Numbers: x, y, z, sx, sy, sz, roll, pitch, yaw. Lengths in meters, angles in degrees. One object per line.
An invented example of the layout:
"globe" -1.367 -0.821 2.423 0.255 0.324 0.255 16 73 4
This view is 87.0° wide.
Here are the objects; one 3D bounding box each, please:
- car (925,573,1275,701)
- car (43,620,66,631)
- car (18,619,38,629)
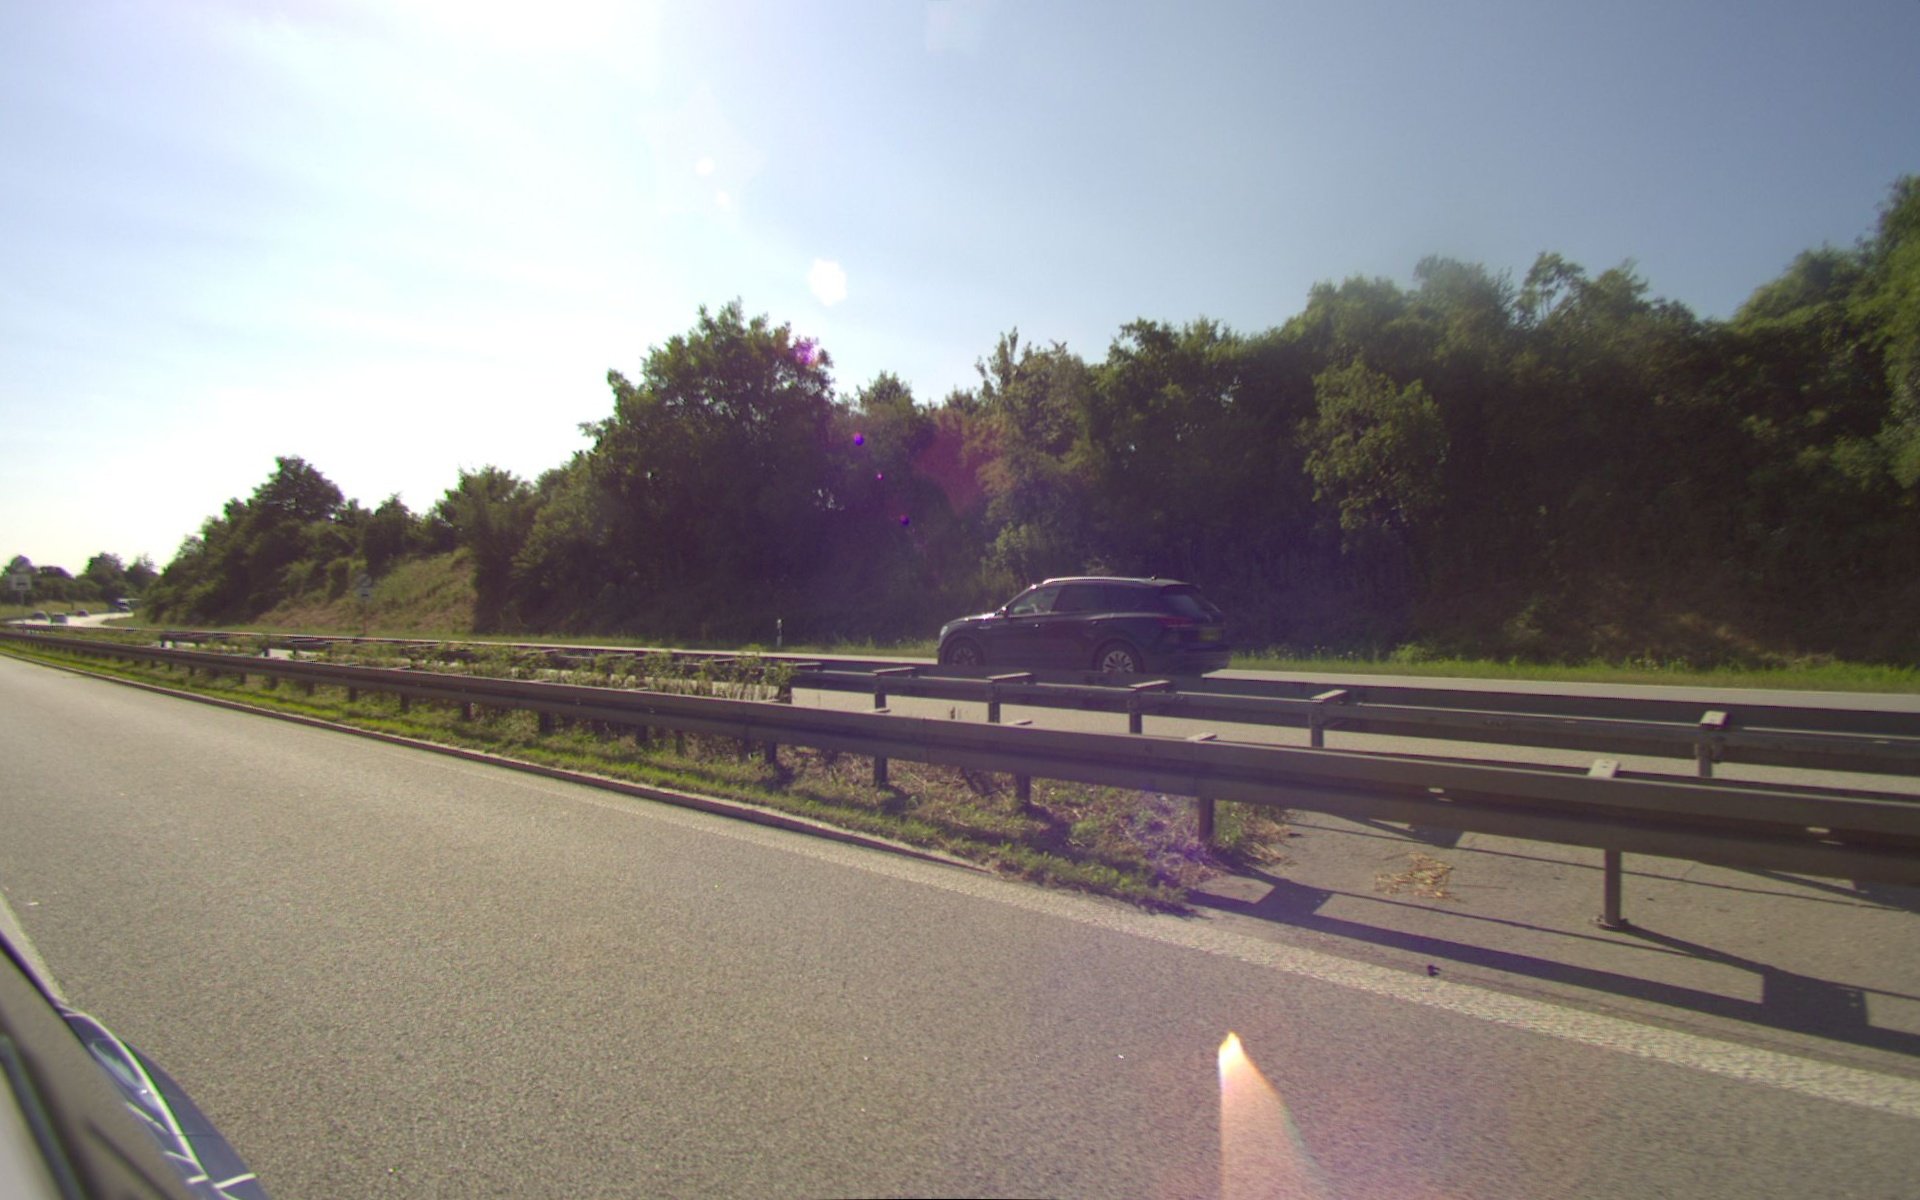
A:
"car" 1.978 0.482 15.483 5.082 1.657 1.972 0 0 42
"car" -117.238 3.287 130.993 4.412 1.450 1.819 -1 -1 42
"car" -148.650 3.875 161.447 4.676 1.557 1.972 -1 -2 43
